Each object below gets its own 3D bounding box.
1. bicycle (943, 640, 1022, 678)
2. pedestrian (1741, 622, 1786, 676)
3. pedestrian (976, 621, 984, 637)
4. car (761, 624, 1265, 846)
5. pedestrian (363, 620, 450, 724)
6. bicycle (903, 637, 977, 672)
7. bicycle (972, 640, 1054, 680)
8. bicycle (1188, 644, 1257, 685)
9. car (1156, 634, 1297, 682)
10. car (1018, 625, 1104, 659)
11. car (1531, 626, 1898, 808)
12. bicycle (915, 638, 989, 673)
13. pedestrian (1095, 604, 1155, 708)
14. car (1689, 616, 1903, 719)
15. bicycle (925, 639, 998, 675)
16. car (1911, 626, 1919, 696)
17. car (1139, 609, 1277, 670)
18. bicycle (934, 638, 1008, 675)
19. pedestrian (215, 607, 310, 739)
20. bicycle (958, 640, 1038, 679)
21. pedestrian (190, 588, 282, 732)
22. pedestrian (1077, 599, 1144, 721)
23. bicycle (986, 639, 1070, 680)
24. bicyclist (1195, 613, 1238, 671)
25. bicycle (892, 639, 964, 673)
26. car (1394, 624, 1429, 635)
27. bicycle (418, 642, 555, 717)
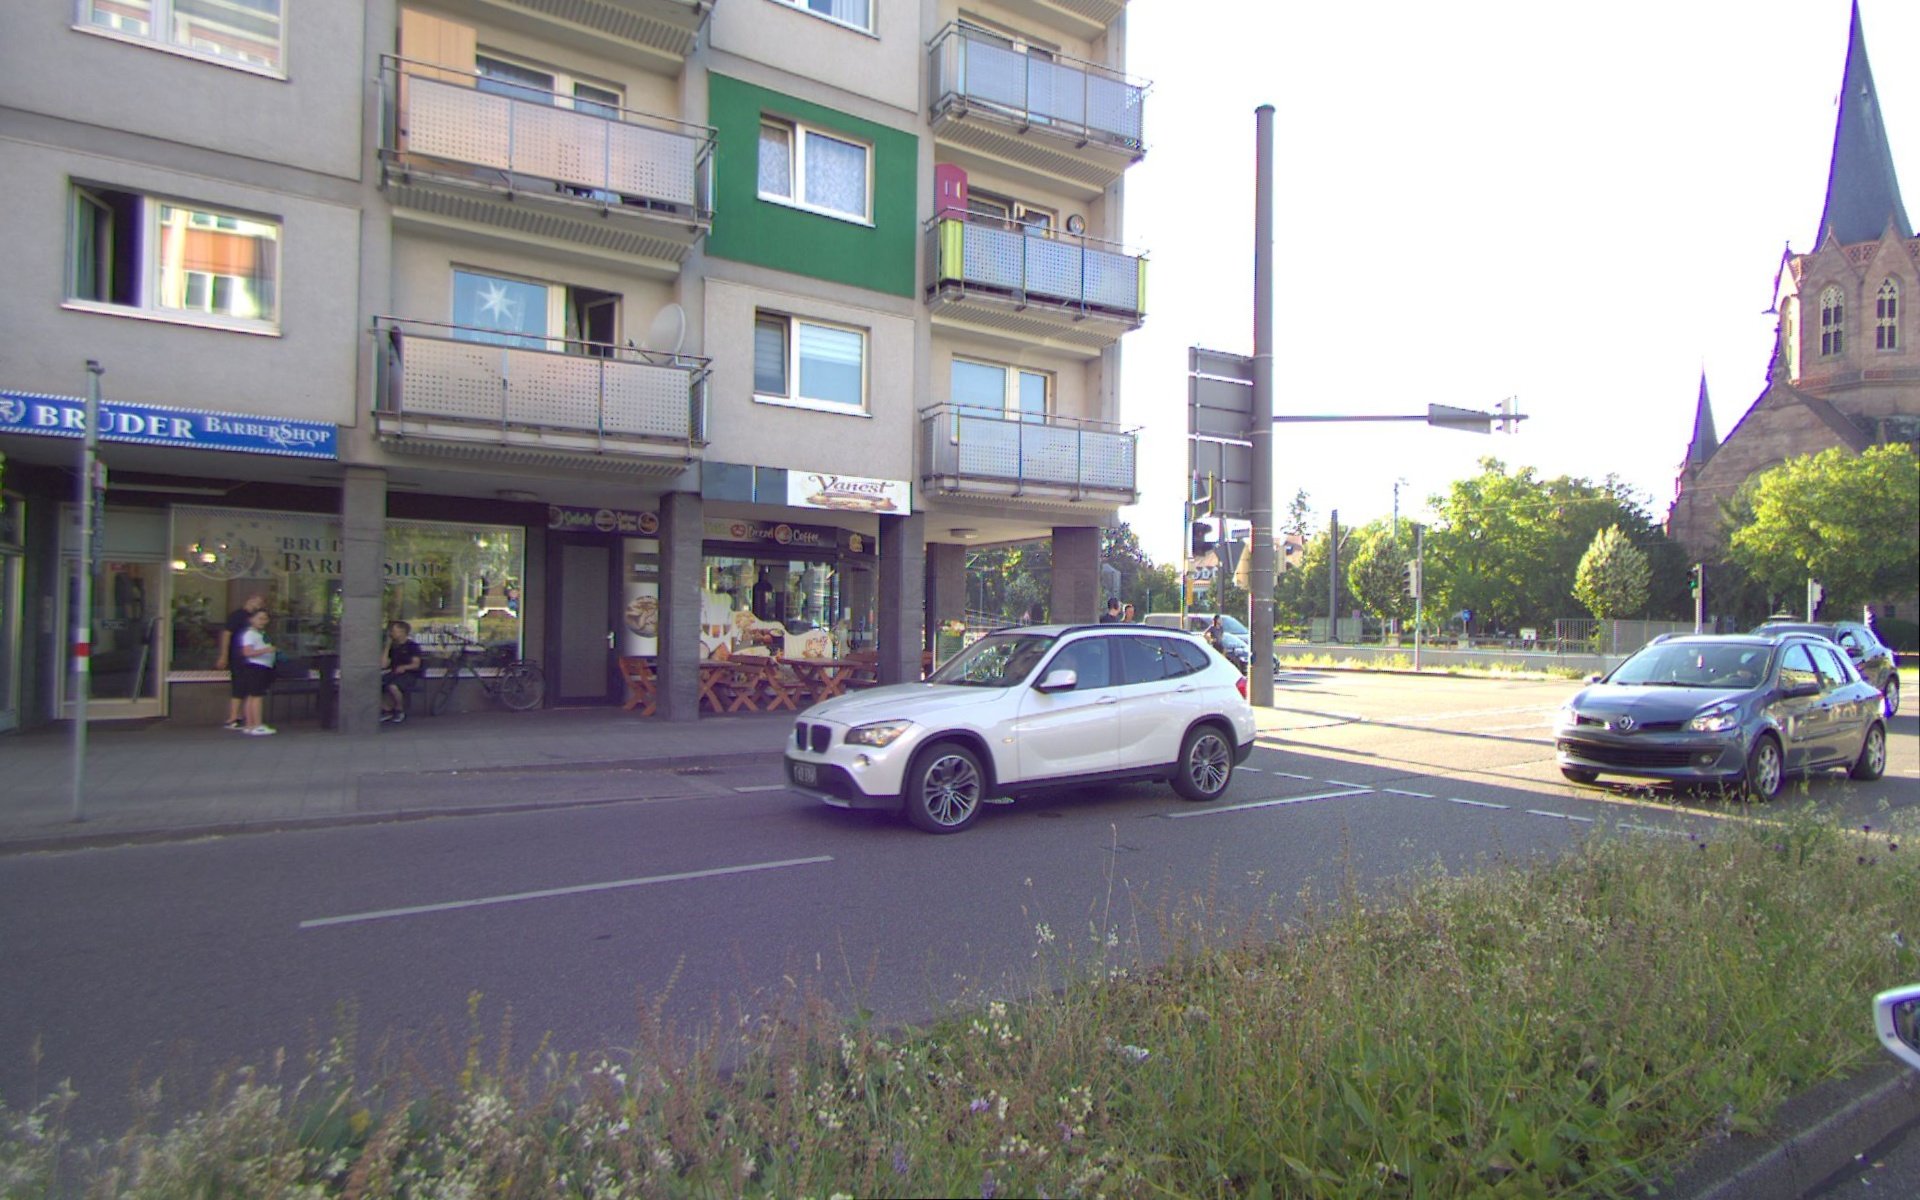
[{"bbox_3d":[0.670,1.729,29.614,2.273,1.065,0.731,2,-2,-31],"label":"bicycle"},{"bbox_3d":[26.546,1.608,33.195,0.803,1.762,0.960,2,-1,-32],"label":"pedestrian"},{"bbox_3d":[2.379,3.384,118.804,0.677,1.847,0.531,2,-1,-27],"label":"pedestrian"},{"bbox_3d":[0.570,0.981,8.750,4.203,1.508,1.742,1,-2,-34],"label":"car"},{"bbox_3d":[-7.429,0.946,13.505,0.613,1.331,0.811,0,-1,16],"label":"pedestrian"},{"bbox_3d":[-0.615,1.721,31.901,2.273,1.065,0.731,2,-2,-31],"label":"bicycle"},{"bbox_3d":[1.510,1.687,28.242,2.273,1.065,0.731,2,-2,-31],"label":"bicycle"},{"bbox_3d":[7.502,1.816,28.747,0.940,1.112,1.769,1,-2,-30],"label":"bicycle"},{"bbox_3d":[8.240,1.758,31.388,1.781,1.330,4.165,2,-2,-32],"label":"car"},{"bbox_3d":[4.416,1.851,44.311,1.781,1.392,3.880,2,-2,-32],"label":"car"},{"bbox_3d":[7.563,1.019,9.983,3.940,1.490,1.584,1,-2,-32],"label":"car"},{"bbox_3d":[-0.230,1.723,31.215,2.273,1.065,0.642,2,-2,-31],"label":"bicycle"},{"bbox_3d":[2.974,0.990,18.116,0.802,1.811,0.606,1,1,-27],"label":"pedestrian"},{"bbox_3d":[14.864,1.143,17.827,4.056,1.650,1.711,1,-2,-32],"label":"car"},{"bbox_3d":[0.048,1.742,30.707,2.273,1.065,0.558,2,-2,-31],"label":"bicycle"},{"bbox_3d":[23.876,1.421,23.644,2.778,1.614,1.526,1,-3,-33],"label":"car"},{"bbox_3d":[8.889,1.398,36.459,1.978,2.040,4.896,2,-2,-32],"label":"car"},{"bbox_3d":[0.344,1.708,30.198,2.273,1.065,0.558,2,-2,-31],"label":"bicycle"},{"bbox_3d":[-8.116,0.828,11.695,0.613,1.486,0.658,0,-1,24],"label":"pedestrian"},{"bbox_3d":[1.108,1.714,28.934,2.273,1.065,0.731,2,-2,-31],"label":"bicycle"},{"bbox_3d":[-8.812,0.717,12.240,0.613,1.694,0.658,0,-1,24],"label":"pedestrian"},{"bbox_3d":[2.419,0.947,16.196,0.802,1.900,0.605,1,2,-30],"label":"pedestrian"},{"bbox_3d":[1.875,1.629,27.564,2.273,1.065,0.731,2,-2,-31],"label":"bicycle"},{"bbox_3d":[7.388,1.200,28.954,0.952,1.619,0.732,1,-2,-30],"label":"bicyclist"},{"bbox_3d":[-1.022,1.803,32.588,2.273,1.065,0.731,2,-2,-31],"label":"bicycle"},{"bbox_3d":[67.969,4.498,151.404,1.985,1.592,4.411,2,-2,-41],"label":"car"},{"bbox_3d":[-6.838,1.124,14.560,1.684,1.012,0.619,2,-2,-40],"label":"bicycle"}]
